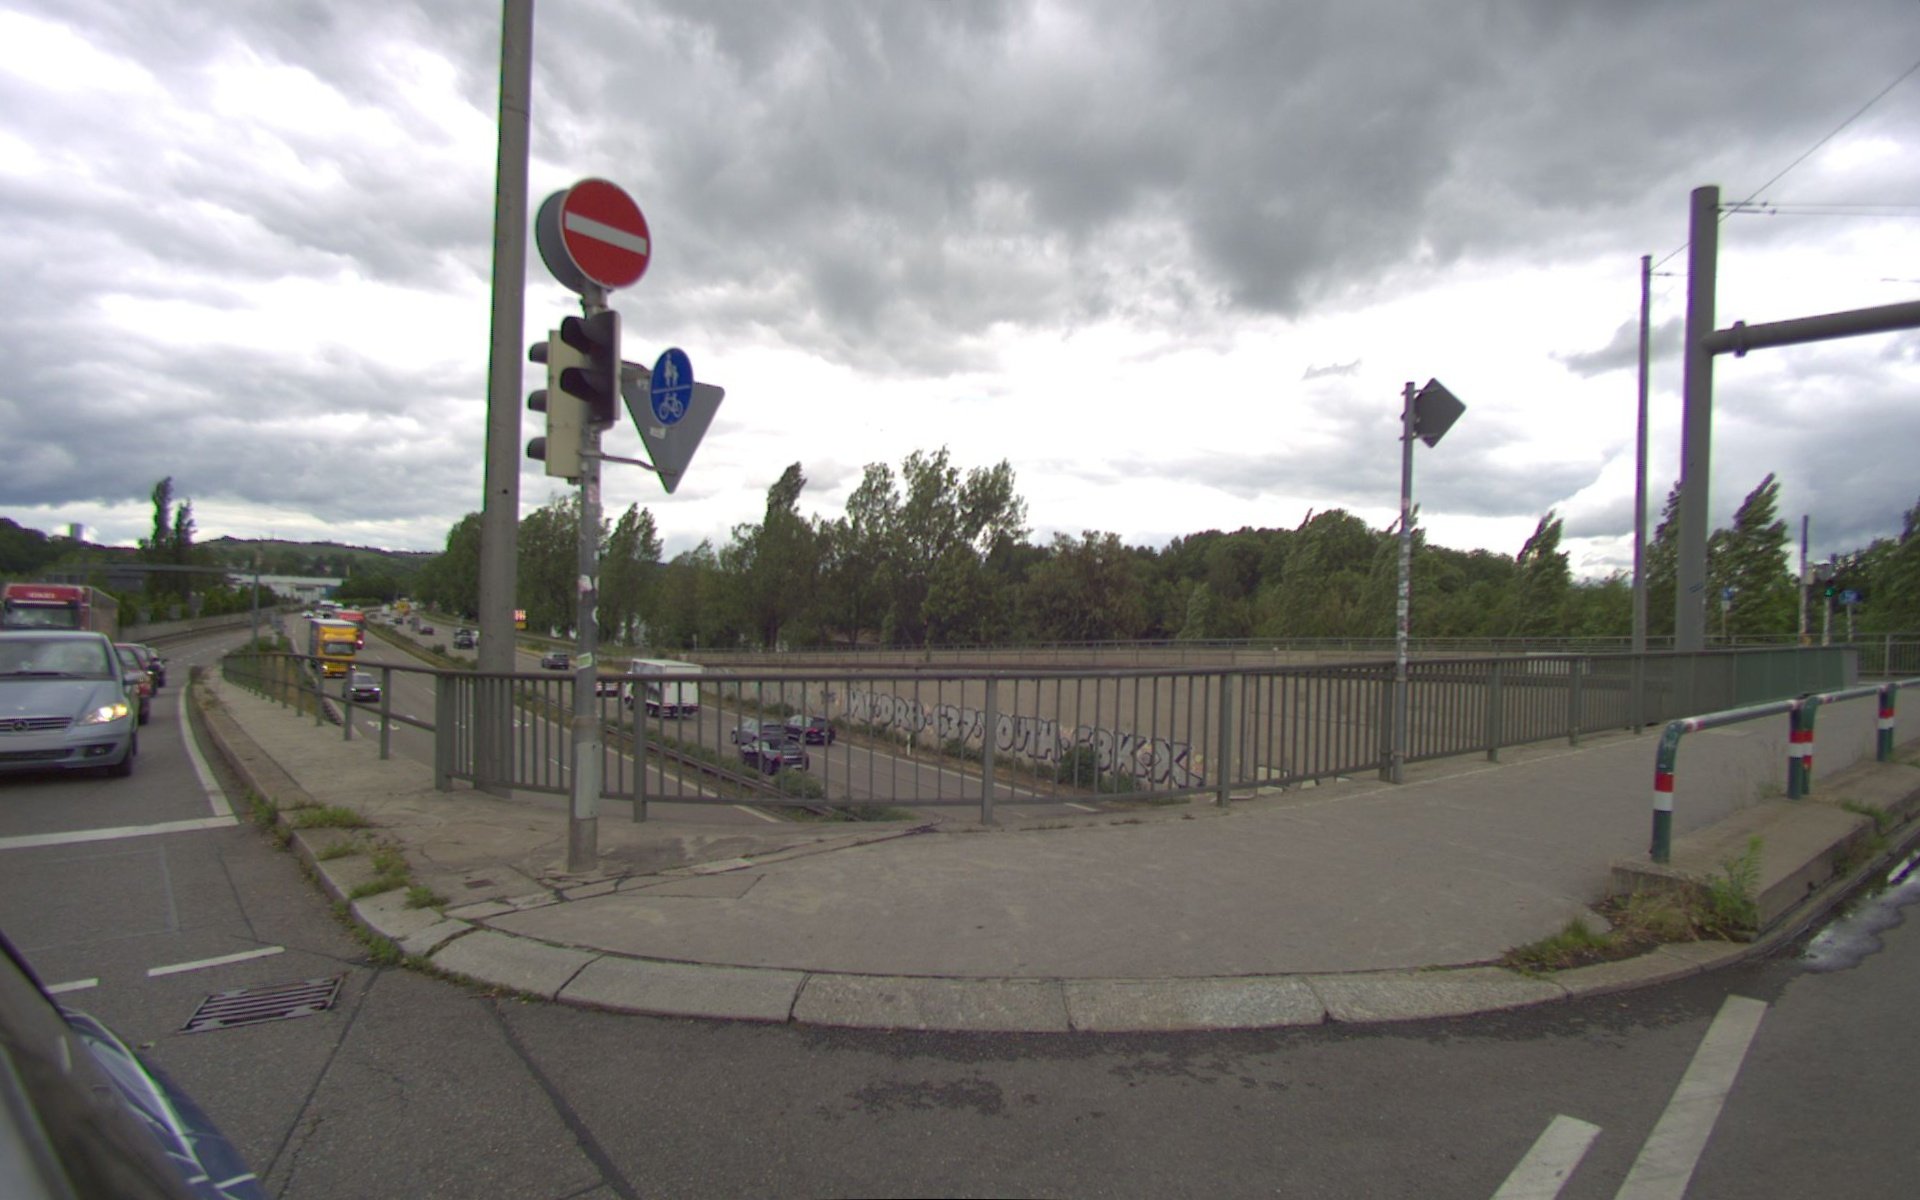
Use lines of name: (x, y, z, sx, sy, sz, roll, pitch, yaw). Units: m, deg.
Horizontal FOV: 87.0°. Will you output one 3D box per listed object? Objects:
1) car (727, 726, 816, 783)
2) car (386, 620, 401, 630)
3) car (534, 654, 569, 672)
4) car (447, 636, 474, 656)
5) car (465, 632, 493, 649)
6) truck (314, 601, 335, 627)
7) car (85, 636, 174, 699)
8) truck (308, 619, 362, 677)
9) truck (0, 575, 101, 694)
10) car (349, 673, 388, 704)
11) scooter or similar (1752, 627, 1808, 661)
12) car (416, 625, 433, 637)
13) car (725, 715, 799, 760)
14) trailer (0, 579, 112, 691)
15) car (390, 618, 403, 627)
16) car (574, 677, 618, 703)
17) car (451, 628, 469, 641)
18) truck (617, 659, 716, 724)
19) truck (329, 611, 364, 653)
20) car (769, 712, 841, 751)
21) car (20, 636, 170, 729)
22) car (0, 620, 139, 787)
car: (-8.635, 6.965, 46.036, 2.298, 1.730, 4.745, 0, 1, -34)
car: (-105.380, 4.610, 188.266, 1.966, 1.730, 3.649, 4, -3, -33)
car: (-40.434, 6.241, 100.174, 1.968, 1.630, 4.337, 4, -3, -38)
car: (-61.934, 5.724, 125.446, 2.188, 2.028, 4.654, 3, 0, -34)
car: (-63.893, 5.414, 134.355, 2.555, 2.029, 4.654, 3, -2, -34)
truck: (-133.795, 2.850, 212.981, 3.322, 4.991, 13.976, 1, 0, -33)
car: (-23.315, 1.838, 28.545, 1.669, 1.431, 4.478, 1, 0, -36)
truck: (-51.210, 3.848, 82.770, 2.855, 4.215, 10.050, 4, -2, -35)
truck: (-36.809, 1.407, 40.294, 3.612, 4.354, 7.250, 1, -3, -38)
car: (-38.200, 5.692, 65.325, 1.849, 1.711, 3.850, 3, -2, -34)
scooter or similar: (26.406, 1.413, 32.594, 1.336, 1.064, 0.478, -2, -2, 43)
car: (-84.474, 4.928, 159.584, 1.966, 1.730, 3.649, 4, -3, -33)
car: (-10.547, 7.219, 53.613, 2.103, 1.730, 4.436, 4, -1, -36)
trailer: (-40.641, 1.595, 45.221, 3.612, 4.354, 13.809, 1, -3, -38)
car: (-114.765, 4.592, 206.126, 1.966, 1.730, 3.649, 4, -3, -34)
car: (-27.405, 6.777, 76.089, 1.967, 1.630, 4.340, 4, -3, -35)
car: (-74.041, 5.121, 149.869, 1.966, 1.782, 3.492, 4, -3, -33)
truck: (-19.255, 5.890, 66.038, 3.535, 3.482, 8.261, 4, -2, -35)
truck: (-71.776, 3.589, 118.231, 2.842, 4.389, 13.294, 3, -1, -34)
car: (-8.687, 7.275, 56.363, 2.103, 1.577, 4.436, 4, -1, -36)
car: (-15.555, 1.392, 18.381, 1.719, 1.474, 3.964, 1, -2, -36)
car: (-10.330, 1.050, 11.283, 1.720, 1.616, 3.690, 1, -2, -38)
